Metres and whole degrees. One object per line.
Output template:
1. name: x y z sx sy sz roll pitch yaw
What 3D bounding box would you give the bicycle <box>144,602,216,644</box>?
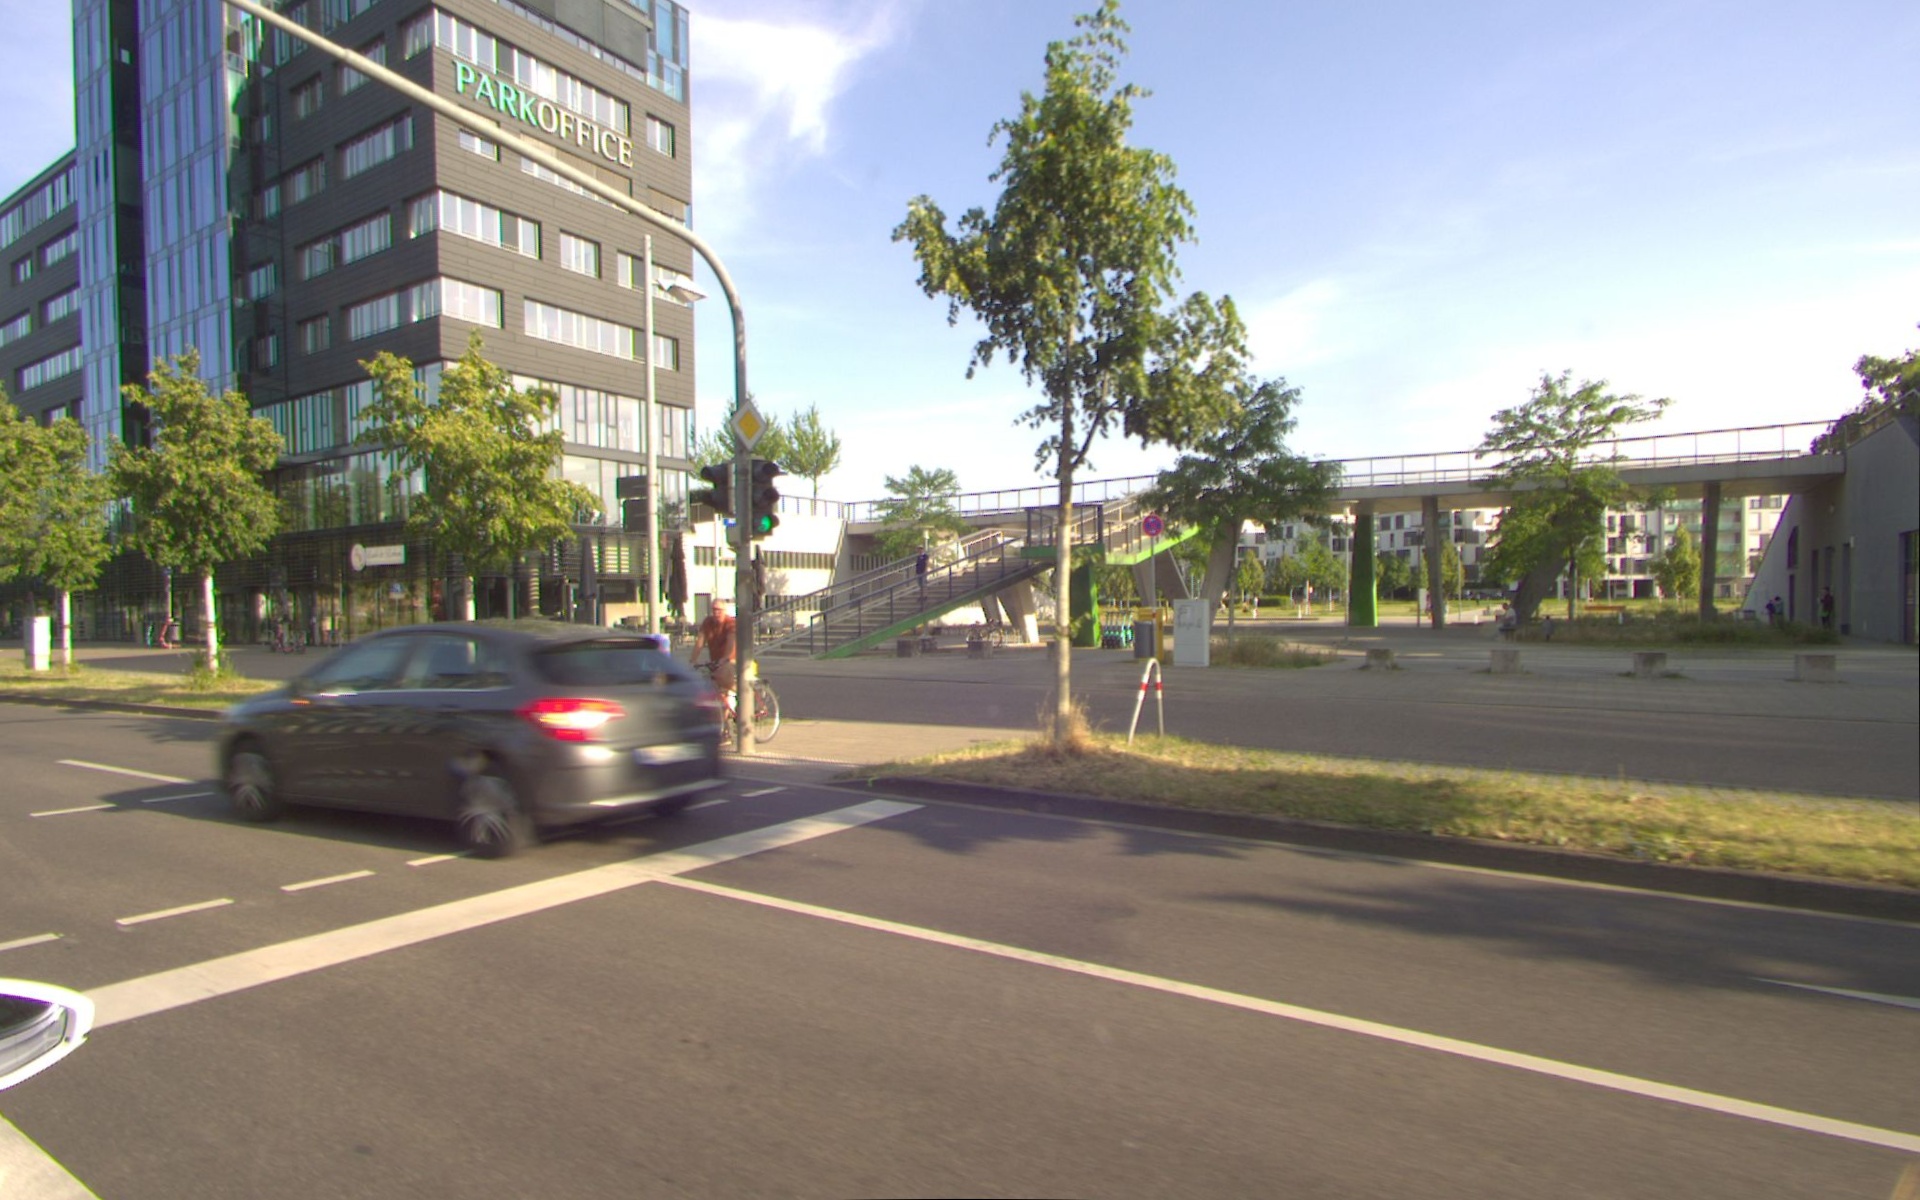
1. bicycle: -36.026 1.059 46.284 0.563 1.881 2.551 -1 -2 42

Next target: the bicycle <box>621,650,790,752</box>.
1. bicycle: -2.845 1.103 11.459 0.563 1.025 2.132 -1 -2 29

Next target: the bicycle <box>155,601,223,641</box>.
1. bicycle: -35.180 0.975 45.722 0.548 1.768 2.422 -1 -2 42

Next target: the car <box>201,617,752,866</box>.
1. car: -3.664 0.871 7.493 3.976 1.442 1.694 -1 -2 28

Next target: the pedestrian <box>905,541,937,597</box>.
1. pedestrian: -1.246 -0.971 31.975 0.689 1.713 0.779 1 -1 -44

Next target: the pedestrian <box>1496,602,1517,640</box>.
1. pedestrian: 19.127 0.733 35.048 0.573 1.310 0.595 -1 -1 33

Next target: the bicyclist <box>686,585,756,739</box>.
1. bicyclist: -2.761 0.706 11.596 0.533 1.729 0.574 0 -1 30

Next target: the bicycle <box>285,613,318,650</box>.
1. bicycle: -25.051 1.198 38.091 1.868 1.363 0.372 -1 -2 34
